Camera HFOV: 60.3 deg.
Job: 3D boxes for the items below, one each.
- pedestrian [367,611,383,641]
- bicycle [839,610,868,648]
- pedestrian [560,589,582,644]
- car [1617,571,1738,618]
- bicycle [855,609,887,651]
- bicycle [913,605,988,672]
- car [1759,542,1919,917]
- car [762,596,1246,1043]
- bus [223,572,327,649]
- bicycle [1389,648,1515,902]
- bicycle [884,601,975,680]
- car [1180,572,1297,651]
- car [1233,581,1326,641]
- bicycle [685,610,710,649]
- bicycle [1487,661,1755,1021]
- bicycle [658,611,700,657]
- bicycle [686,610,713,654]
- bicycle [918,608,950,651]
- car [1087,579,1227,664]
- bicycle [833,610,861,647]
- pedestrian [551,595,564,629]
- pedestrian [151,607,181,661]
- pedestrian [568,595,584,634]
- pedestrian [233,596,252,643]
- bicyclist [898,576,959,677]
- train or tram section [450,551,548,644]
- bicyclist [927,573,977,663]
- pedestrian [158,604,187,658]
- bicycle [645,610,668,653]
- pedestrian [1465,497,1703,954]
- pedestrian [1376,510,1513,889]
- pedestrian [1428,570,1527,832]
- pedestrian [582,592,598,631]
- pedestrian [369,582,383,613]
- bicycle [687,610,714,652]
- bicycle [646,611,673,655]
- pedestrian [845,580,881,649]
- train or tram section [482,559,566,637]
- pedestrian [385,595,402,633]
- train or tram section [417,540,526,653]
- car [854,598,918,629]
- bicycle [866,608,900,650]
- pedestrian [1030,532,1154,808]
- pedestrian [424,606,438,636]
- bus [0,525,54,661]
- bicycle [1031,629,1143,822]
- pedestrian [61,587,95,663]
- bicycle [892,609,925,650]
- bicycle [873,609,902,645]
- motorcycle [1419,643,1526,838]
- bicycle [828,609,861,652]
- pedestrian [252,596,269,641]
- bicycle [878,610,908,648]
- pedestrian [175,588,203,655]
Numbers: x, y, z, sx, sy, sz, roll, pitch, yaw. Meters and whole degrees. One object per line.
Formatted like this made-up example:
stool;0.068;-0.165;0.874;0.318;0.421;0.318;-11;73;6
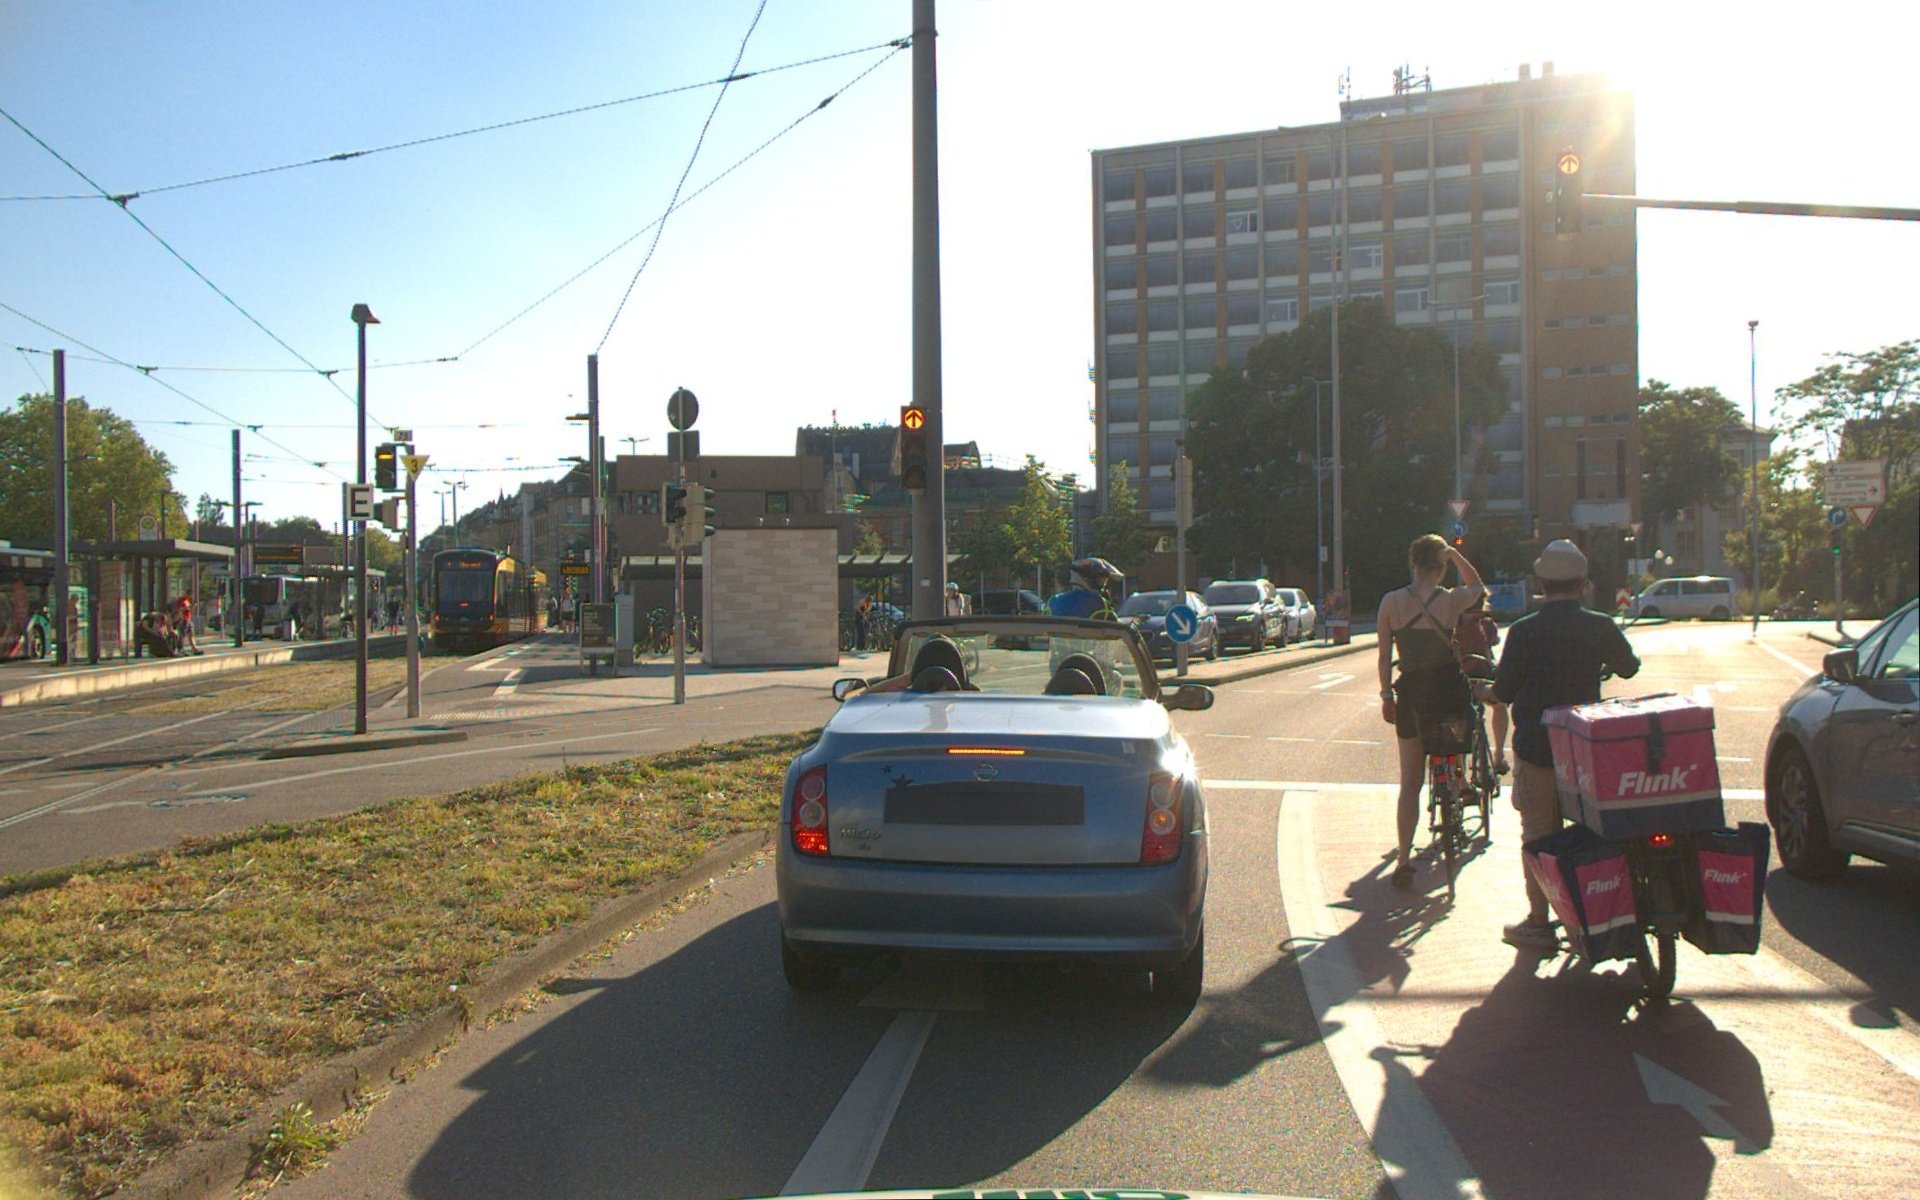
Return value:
pedestrian;-34.728;1.546;98.168;0.720;1.779;0.638;-1;0;-8
bicycle;-3.290;0.881;51.002;0.596;1.134;1.890;1;0;-13
pedestrian;-12.790;0.525;54.310;0.628;1.779;0.569;-1;0;-19
car;31.953;-0.228;73.771;4.591;1.979;1.916;-1;0;7
bicycle;-2.556;0.843;47.141;0.596;1.134;1.890;1;0;-13
bicycle;-0.153;0.711;31.449;0.660;1.201;2.183;-1;0;21
car;5.287;0.606;7.401;1.792;1.719;4.372;1;0;8
car;0.356;0.746;7.683;1.625;1.466;4.157;1;0;6
bus;-32.731;0.466;79.557;2.675;3.331;13.413;1;0;-14
bicycle;2.640;0.874;9.000;0.552;1.171;1.951;1;0;14
bicycle;-0.502;0.675;28.831;0.660;1.272;2.457;-3;-1;21
car;6.771;0.254;39.814;1.726;1.736;4.529;-2;-1;23
car;9.015;0.280;46.459;1.661;1.588;3.977;-1;0;25
bicycle;-7.976;0.892;50.200;0.596;1.134;1.890;1;0;-13
bicycle;2.730;0.900;7.075;0.542;1.192;2.374;1;0;9
bicycle;-7.181;0.856;42.339;0.594;1.134;1.898;1;0;5
bicycle;-6.986;0.844;44.278;0.596;1.134;1.890;1;0;-13
bicycle;-0.728;0.807;45.540;0.595;1.134;1.892;1;0;-10
car;4.074;0.424;33.685;1.702;1.601;3.921;1;0;25
bicycle;-3.620;0.897;52.964;0.596;1.134;1.890;1;0;-13
pedestrian;-21.785;0.647;89.581;0.593;1.779;0.830;-1;0;-8
pedestrian;-20.091;0.856;41.870;0.606;1.364;0.438;-1;0;-18
pedestrian;-17.837;0.666;76.767;0.628;1.779;0.732;-1;0;-19
pedestrian;-27.775;0.750;64.008;0.630;1.779;0.567;-1;0;-27
bicyclist;-0.540;0.455;28.763;0.694;1.686;0.901;-3;-1;21
train or tram section;-19.976;-0.084;72.364;2.957;3.659;12.169;1;0;-10
bicyclist;-0.153;0.347;31.476;0.694;1.686;0.743;-1;0;21
pedestrian;-20.249;0.802;42.551;0.561;1.369;0.637;-1;0;-17
bicycle;-8.421;0.860;45.850;0.596;1.134;1.891;1;0;-11
pedestrian;2.764;0.522;7.428;0.789;1.901;0.957;1;-1;8
pedestrian;2.561;0.500;8.812;0.645;1.901;0.873;1;-1;14
pedestrian;3.383;0.630;10.852;0.575;1.626;1.025;1;-1;16
pedestrian;-17.326;0.543;77.421;0.628;1.779;0.732;-1;0;-19
pedestrian;-34.691;-0.153;98.190;0.722;1.779;0.637;-1;0;-16
bicycle;-7.276;0.861;46.337;0.596;1.134;1.890;1;0;-13
bicycle;-7.990;0.859;43.932;0.596;1.134;1.890;1;0;-13
pedestrian;-2.746;0.406;46.735;0.885;1.901;0.685;1;-1;-13
train or tram section;-22.041;-0.070;84.259;2.984;3.659;12.024;1;0;-10
pedestrian;-26.424;0.656;77.134;0.630;1.779;0.567;-1;0;-27
train or tram section;-17.642;-0.106;60.410;2.831;3.659;12.161;1;0;-12
car;-3.980;0.739;88.613;1.629;1.588;3.549;-1;0;-39
bicycle;-2.107;0.782;45.216;0.596;1.134;1.890;1;0;-13
pedestrian;0.971;0.485;11.969;0.815;1.901;0.921;1;-1;8
pedestrian;-32.121;1.281;100.460;0.720;1.779;0.638;-1;0;-8
bus;-23.559;-0.179;37.173;2.606;3.190;9.619;1;0;-10
bicycle;0.954;0.830;11.900;0.595;1.212;2.416;1;0;9
pedestrian;-20.969;0.590;39.321;0.527;1.779;0.559;-1;0;-6
bicycle;-1.493;0.830;47.545;0.596;1.134;1.890;1;0;-13
bicycle;-2.334;0.866;53.191;0.596;1.134;1.890;1;0;-13
motorcycle;3.421;0.873;11.114;0.600;1.117;2.361;1;0;16
bicycle;-3.159;0.823;45.059;0.596;1.134;1.890;1;0;-13
pedestrian;-27.978;0.753;66.155;0.562;1.779;0.636;-1;0;-20
bicycle;-2.085;0.885;51.223;0.596;1.134;1.890;1;0;-13
pedestrian;-20.704;0.581;44.409;0.561;1.779;0.637;-1;0;-17
